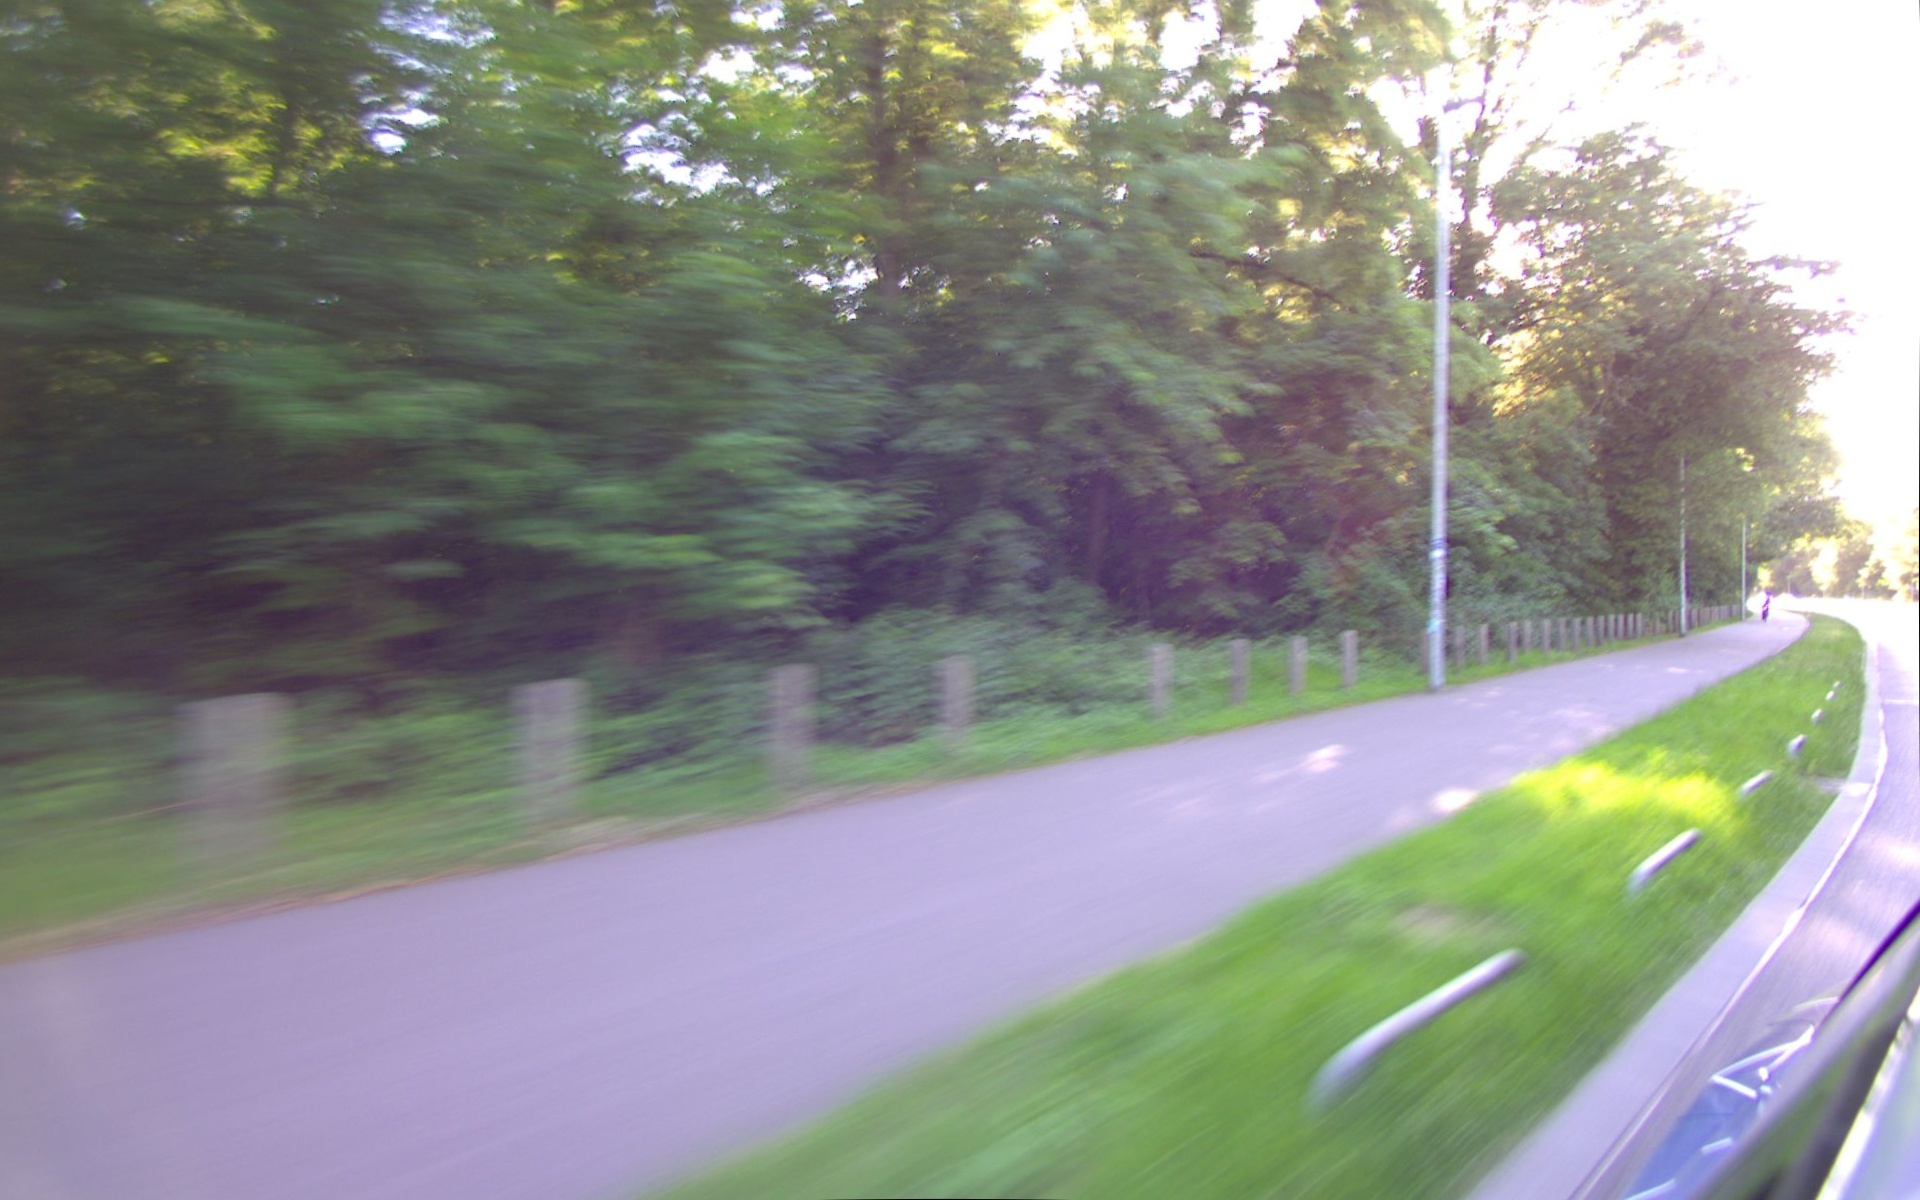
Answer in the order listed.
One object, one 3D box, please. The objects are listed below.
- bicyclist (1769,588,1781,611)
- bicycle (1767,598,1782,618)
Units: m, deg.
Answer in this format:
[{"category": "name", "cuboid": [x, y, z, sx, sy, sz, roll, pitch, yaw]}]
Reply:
[{"category": "bicyclist", "cuboid": [46.585, -0.041, 57.817, 0.512, 1.283, 0.490, 0, 0, 41]}, {"category": "bicycle", "cuboid": [46.773, 0.441, 58.091, 0.606, 1.071, 2.832, 0, 0, 40]}]
